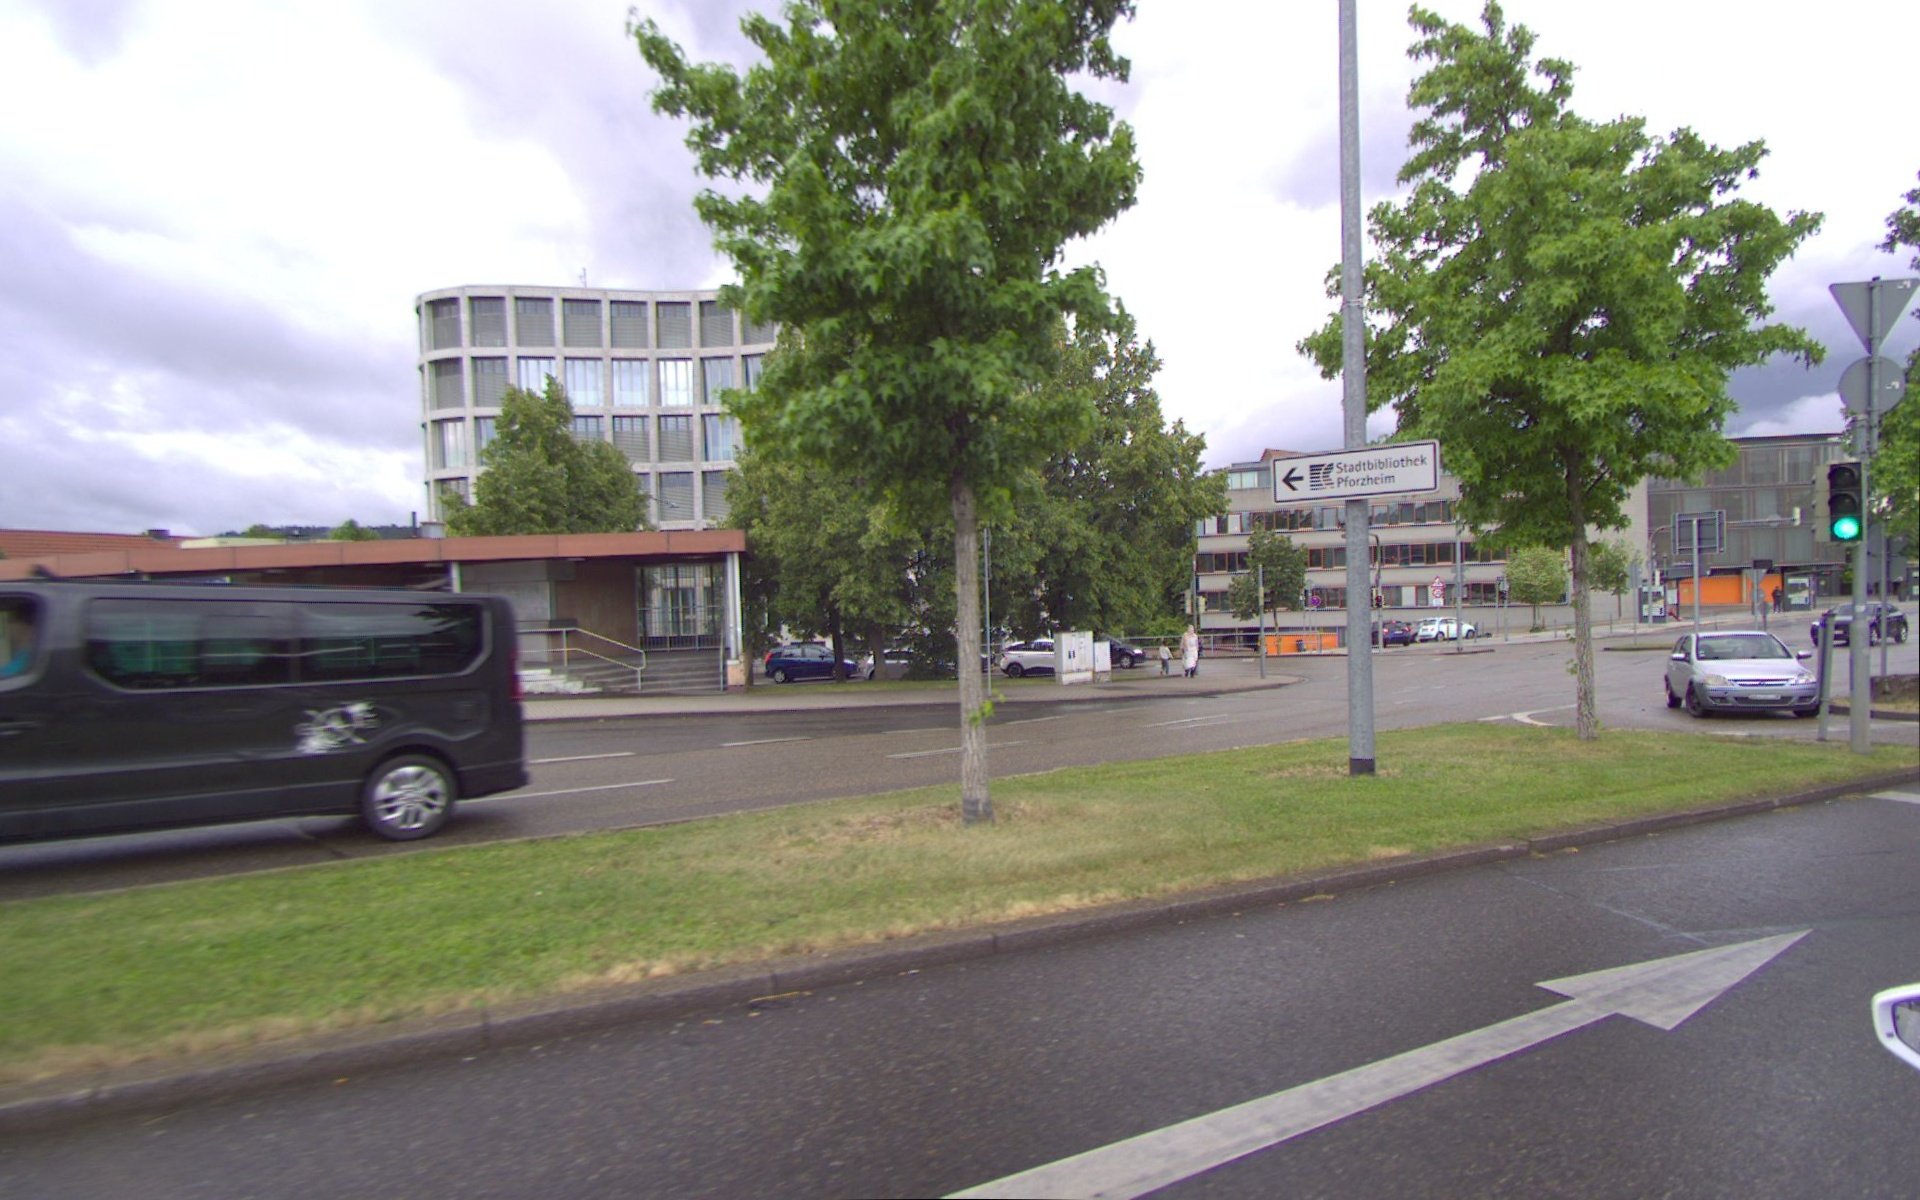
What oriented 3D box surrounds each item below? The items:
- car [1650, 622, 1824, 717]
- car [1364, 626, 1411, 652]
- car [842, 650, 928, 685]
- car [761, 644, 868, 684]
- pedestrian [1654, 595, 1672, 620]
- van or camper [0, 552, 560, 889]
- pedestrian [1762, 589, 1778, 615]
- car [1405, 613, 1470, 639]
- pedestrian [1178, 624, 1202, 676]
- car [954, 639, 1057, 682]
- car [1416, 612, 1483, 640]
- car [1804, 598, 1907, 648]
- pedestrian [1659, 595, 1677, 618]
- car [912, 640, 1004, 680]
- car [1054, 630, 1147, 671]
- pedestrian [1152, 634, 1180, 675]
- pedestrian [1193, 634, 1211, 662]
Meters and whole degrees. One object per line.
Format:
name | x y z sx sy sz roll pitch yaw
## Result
car | 13.456 1.174 17.634 1.607 1.467 3.872 -3 -3 26
car | 25.258 2.288 59.411 1.453 1.369 3.584 -2 -1 5
car | -3.118 2.822 42.055 3.250 1.313 1.498 -2 0 12
car | -6.643 2.945 46.098 4.488 1.588 1.729 -2 0 5
pedestrian | 42.613 0.466 60.908 0.619 1.488 0.675 -2 0 -32
van or camper | -6.068 0.822 7.631 5.238 2.099 2.200 2 -4 -39
pedestrian | 54.241 0.143 67.258 0.752 1.706 0.473 -2 -1 -23
car | 30.651 1.658 64.562 3.522 1.515 1.628 -2 -1 -15
pedestrian | 7.175 1.575 31.372 0.640 1.590 0.631 -1 -3 8
car | 1.894 2.476 41.271 3.974 1.528 1.729 -2 0 12
car | 30.552 1.623 62.775 3.522 1.515 1.628 -2 -1 -15
car | 35.730 0.884 40.034 4.806 1.684 1.897 -3 1 -34
pedestrian | 43.250 0.404 61.349 0.713 1.411 0.675 -2 0 -32
car | -0.072 2.659 44.925 3.761 1.588 1.729 -2 0 13
car | 6.071 2.172 43.135 3.761 1.588 1.729 -2 0 13
pedestrian | 6.666 1.766 32.505 0.626 1.309 0.645 1 -3 -42
pedestrian | 14.109 2.811 58.614 0.697 1.604 0.668 -1 0 -32
